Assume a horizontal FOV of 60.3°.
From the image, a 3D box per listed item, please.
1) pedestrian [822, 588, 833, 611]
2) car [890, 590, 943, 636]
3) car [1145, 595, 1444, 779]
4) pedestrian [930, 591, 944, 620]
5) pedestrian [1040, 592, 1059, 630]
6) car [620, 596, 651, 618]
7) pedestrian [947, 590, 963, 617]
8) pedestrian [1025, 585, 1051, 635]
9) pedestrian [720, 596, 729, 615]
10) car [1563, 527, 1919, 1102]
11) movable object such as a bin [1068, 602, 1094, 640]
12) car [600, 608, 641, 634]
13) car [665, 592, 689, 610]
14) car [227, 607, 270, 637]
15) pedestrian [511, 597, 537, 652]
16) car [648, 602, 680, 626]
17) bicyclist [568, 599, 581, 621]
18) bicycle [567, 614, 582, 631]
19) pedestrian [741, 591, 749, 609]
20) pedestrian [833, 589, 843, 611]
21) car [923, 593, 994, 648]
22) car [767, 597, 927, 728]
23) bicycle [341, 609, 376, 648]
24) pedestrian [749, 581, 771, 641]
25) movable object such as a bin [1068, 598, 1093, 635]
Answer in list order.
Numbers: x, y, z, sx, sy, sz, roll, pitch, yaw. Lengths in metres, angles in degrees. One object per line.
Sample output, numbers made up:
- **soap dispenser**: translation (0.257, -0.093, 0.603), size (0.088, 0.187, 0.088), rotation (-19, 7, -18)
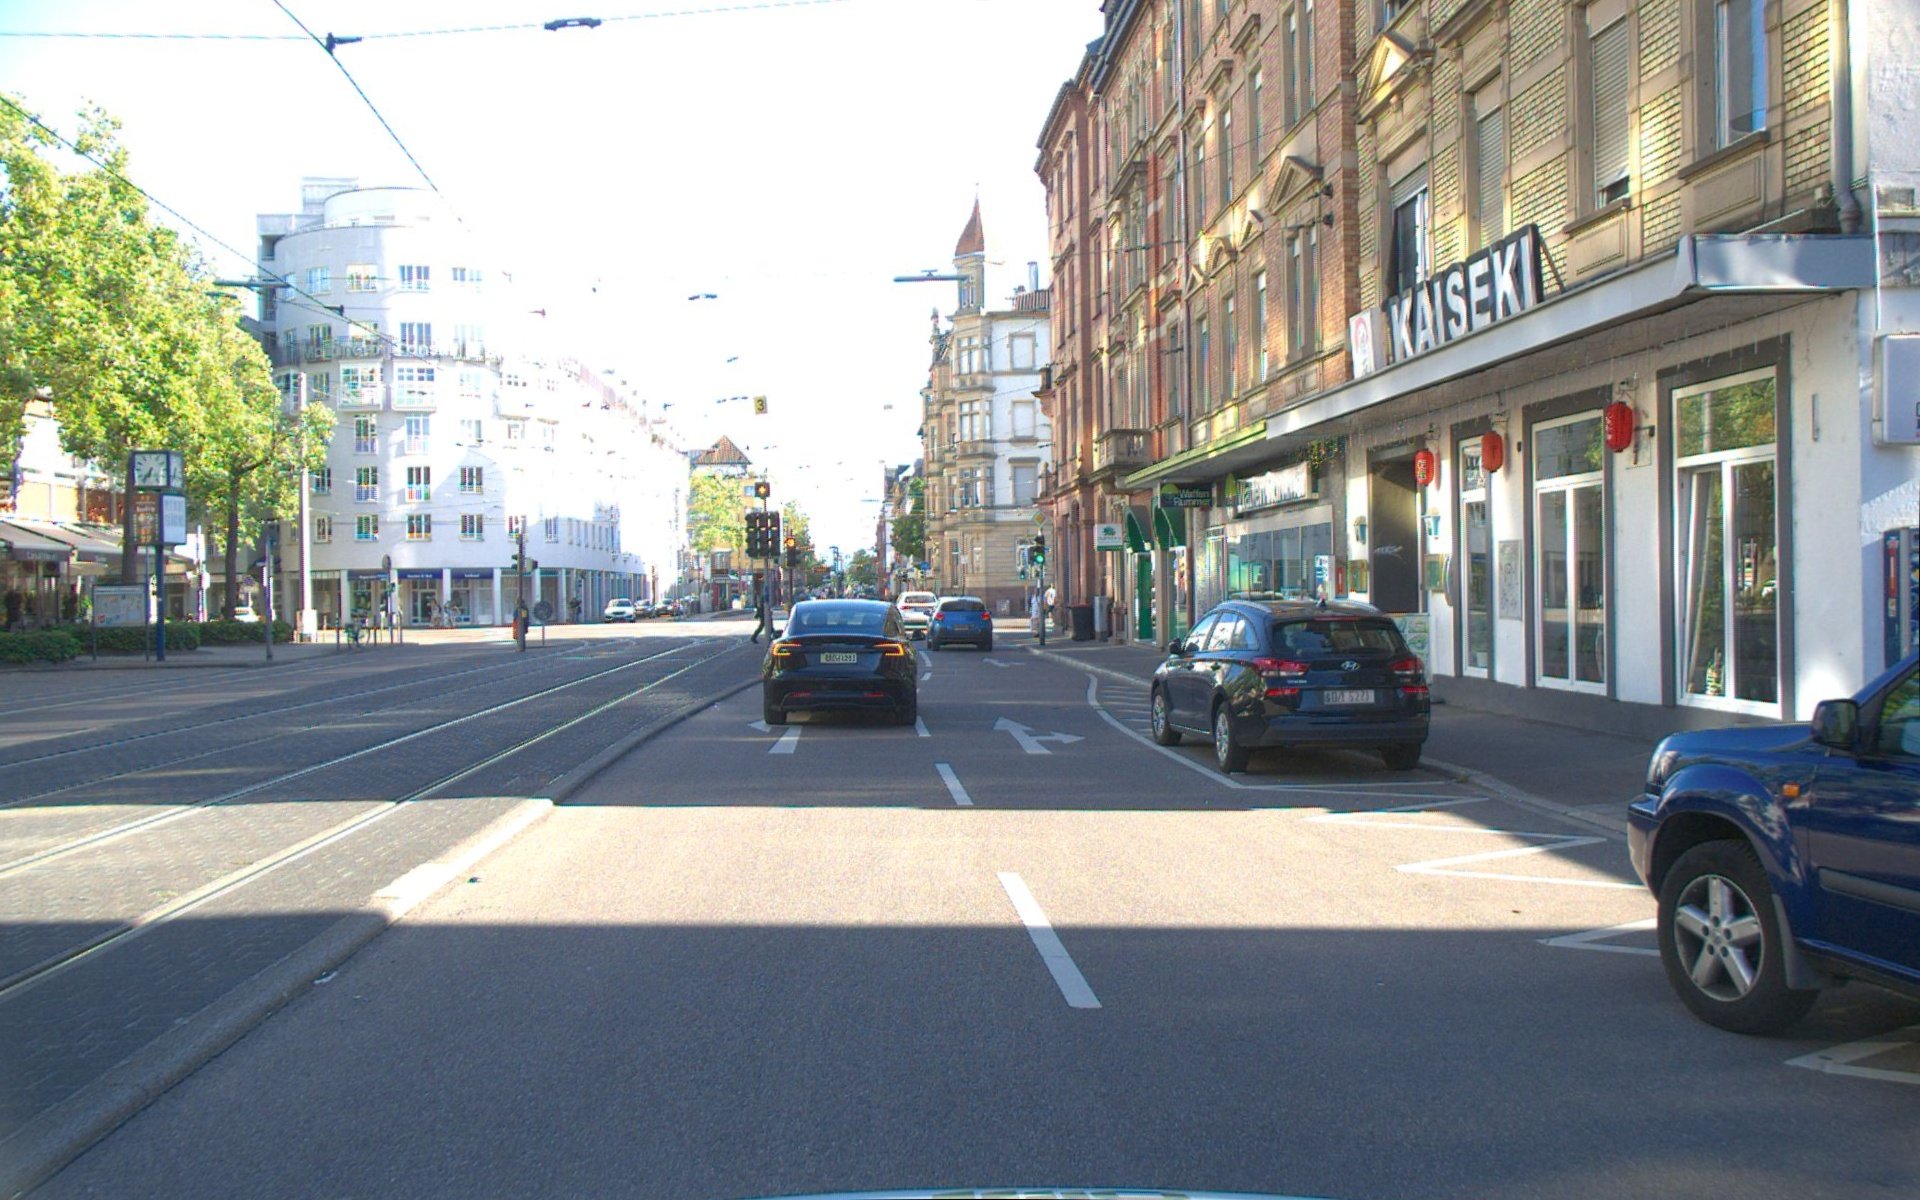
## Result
- **pedestrian**: translation (-10.753, -0.023, 134.037), size (0.704, 1.808, 0.564), rotation (-1, 0, 32)
- **car**: translation (-1.772, 0.532, 66.189), size (1.954, 1.773, 3.997), rotation (1, -1, -4)
- **car**: translation (2.986, 0.709, 15.699), size (1.657, 1.476, 4.356), rotation (1, 0, -4)
- **pedestrian**: translation (-1.416, 0.341, 102.630), size (0.765, 1.780, 1.092), rotation (-1, 2, -7)
- **pedestrian**: translation (4.063, 0.510, 74.757), size (0.686, 1.683, 0.632), rotation (-2, -1, 18)
- **car**: translation (-25.027, 0.538, 127.734), size (1.955, 1.624, 3.994), rotation (-1, -1, -6)
- **pedestrian**: translation (-0.316, 0.215, 101.937), size (0.903, 1.660, 0.942), rotation (-1, -1, 4)
- **pedestrian**: translation (2.561, 0.326, 54.276), size (0.669, 1.635, 0.729), rotation (-1, 0, -13)
- **pedestrian**: translation (-19.430, 0.466, 136.323), size (0.717, 1.554, 0.742), rotation (-1, 1, -5)
- **car**: translation (3.787, 0.658, 4.866), size (1.660, 1.743, 4.603), rotation (1, 0, -11)
- **movable object such as a bin**: translation (3.646, 0.636, 49.724), size (0.650, 1.091, 0.590), rotation (-4, 0, -2)
- **car**: translation (-20.923, 1.296, 101.968), size (1.955, 1.477, 4.497), rotation (-1, 1, -6)
- **car**: translation (-24.838, 0.067, 145.172), size (1.695, 1.541, 4.400), rotation (-1, 0, -5)
- **car**: translation (-39.795, 1.227, 92.540), size (1.769, 1.427, 4.083), rotation (-1, 2, -17)
- **pedestrian**: translation (-12.608, 0.700, 47.837), size (0.490, 1.544, 0.858), rotation (-3, 0, -4)
- **car**: translation (-24.829, 1.148, 138.680), size (2.183, 1.944, 4.604), rotation (-1, 0, -5)
- **bicyclist**: translation (-24.143, 0.626, 103.560), size (0.577, 1.308, 0.926), rotation (-1, -1, -4)
- **bicycle**: translation (-24.151, 1.414, 103.687), size (0.582, 0.989, 1.816), rotation (-1, -1, -3)
- **pedestrian**: translation (-19.086, -0.018, 146.807), size (0.717, 1.586, 0.742), rotation (-1, 1, -5)
- **pedestrian**: translation (-9.526, -0.018, 129.321), size (0.623, 1.727, 0.933), rotation (0, -1, 3)
- **car**: translation (-0.087, 0.543, 46.243), size (1.746, 1.476, 3.651), rotation (1, 0, -4)
- **car**: translation (-1.415, 0.702, 20.592), size (1.775, 1.449, 4.150), rotation (1, 0, -4)
- **bicycle**: translation (-19.822, 0.936, 54.533), size (0.487, 1.207, 2.233), rotation (-1, 1, -5)
- **pedestrian**: translation (-6.104, 0.335, 50.535), size (0.547, 1.794, 0.894), rotation (-3, 0, -4)
- **movable object such as a bin**: translation (3.657, 0.499, 50.323), size (0.650, 1.091, 0.545), rotation (-4, 0, -2)
